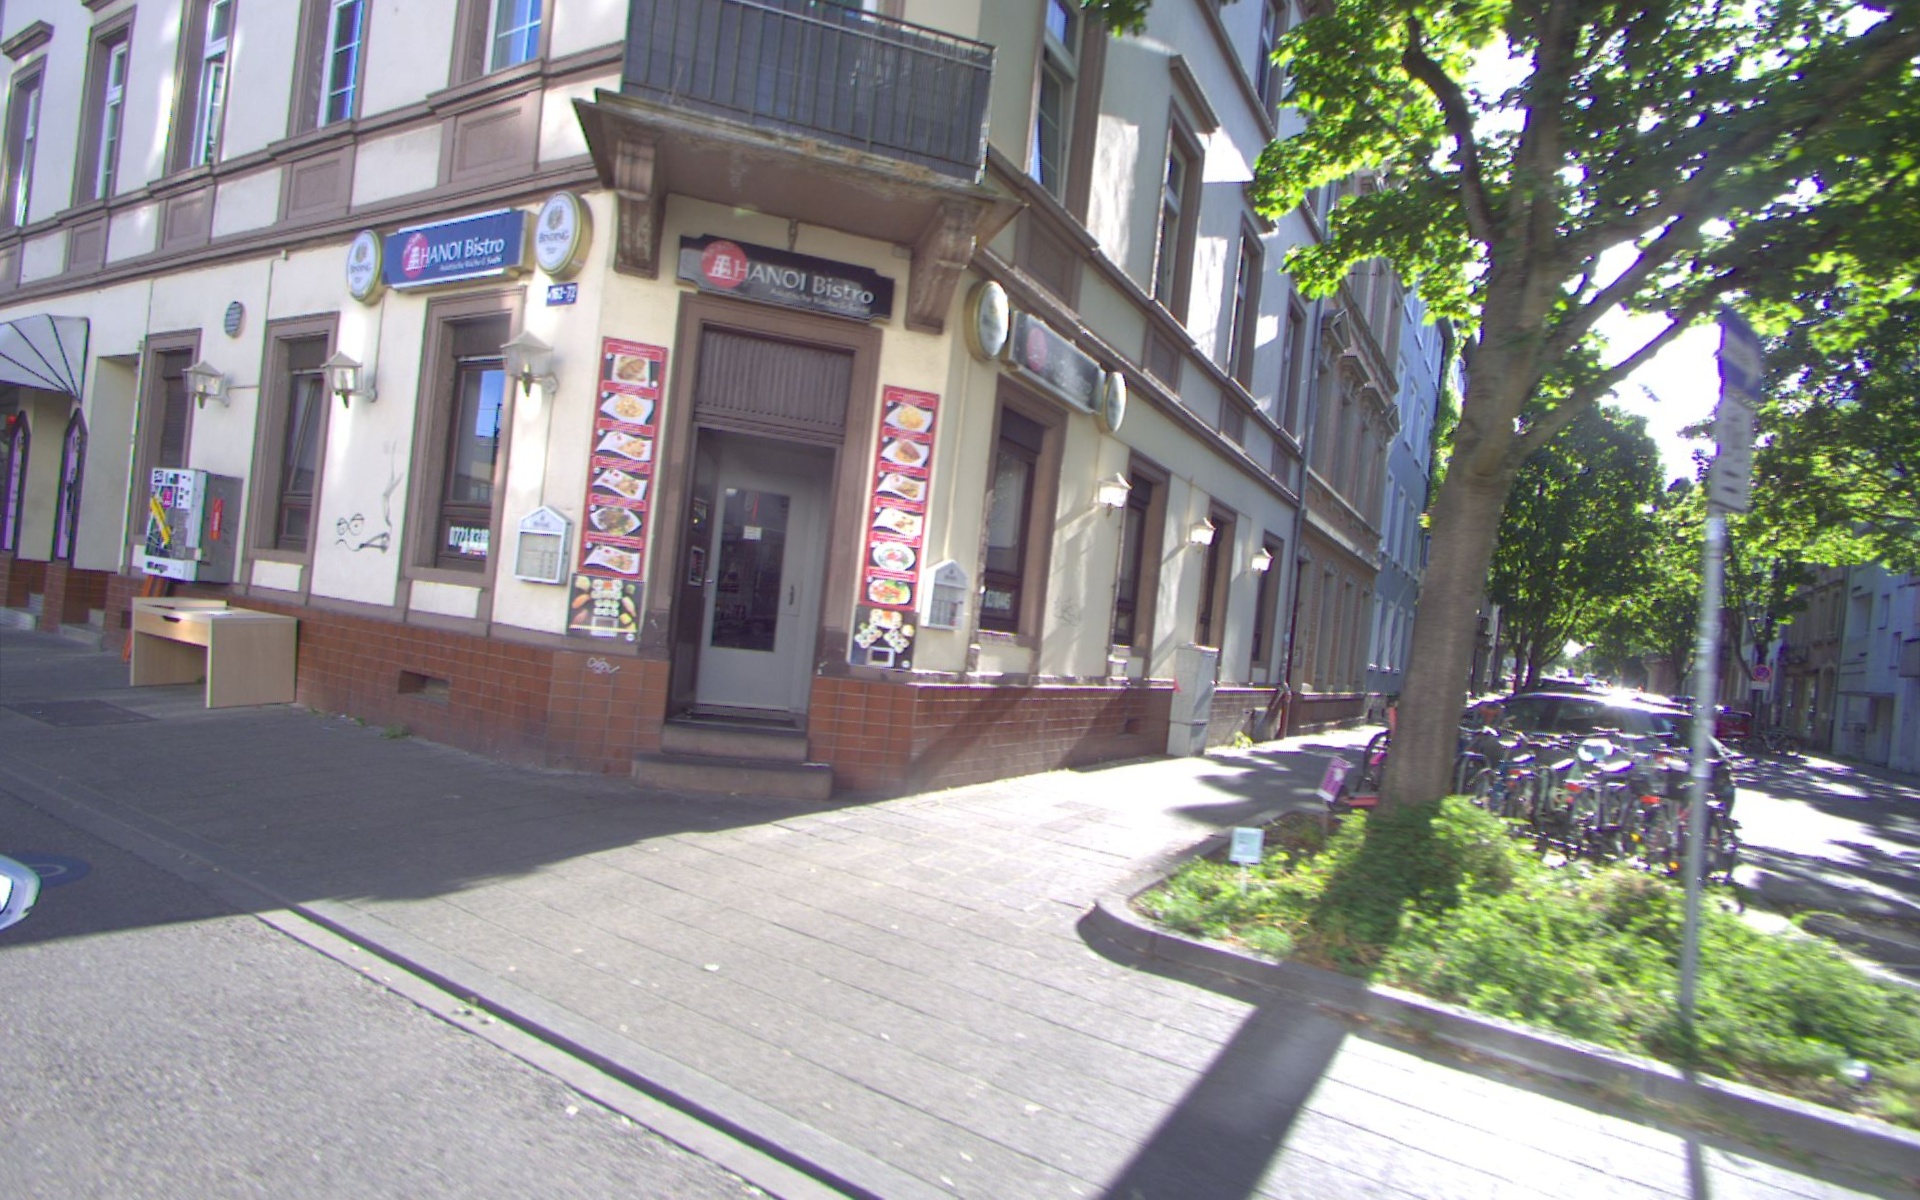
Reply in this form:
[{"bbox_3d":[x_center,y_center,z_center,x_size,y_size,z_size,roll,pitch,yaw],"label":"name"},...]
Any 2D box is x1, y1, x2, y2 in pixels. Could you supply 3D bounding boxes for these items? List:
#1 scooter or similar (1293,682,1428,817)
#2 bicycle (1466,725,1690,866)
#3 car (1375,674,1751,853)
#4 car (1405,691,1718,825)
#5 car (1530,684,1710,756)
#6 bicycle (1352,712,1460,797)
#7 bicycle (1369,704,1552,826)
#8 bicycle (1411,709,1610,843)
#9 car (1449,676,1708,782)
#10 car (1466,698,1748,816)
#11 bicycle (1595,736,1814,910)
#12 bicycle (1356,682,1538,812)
[{"bbox_3d":[3.897,1.460,9.777,1.196,1.197,0.422,6,-1,-25],"label":"scooter or similar"},{"bbox_3d":[5.365,1.699,8.716,1.880,1.057,0.535,6,0,-20],"label":"bicycle"},{"bbox_3d":[7.377,1.926,12.643,1.629,1.549,3.628,6,-1,-32],"label":"car"},{"bbox_3d":[8.889,2.284,15.139,1.629,1.378,3.628,6,-1,-32],"label":"car"},{"bbox_3d":[21.644,3.913,33.201,1.630,1.692,4.597,7,-1,-32],"label":"car"},{"bbox_3d":[5.640,1.934,12.831,0.527,0.810,1.757,5,-1,0],"label":"bicycle"},{"bbox_3d":[4.860,1.609,9.740,1.883,1.057,0.439,6,0,-25],"label":"bicycle"},{"bbox_3d":[5.107,1.636,9.304,1.883,1.094,0.534,6,-1,-25],"label":"bicycle"},{"bbox_3d":[13.630,2.805,22.497,1.629,1.692,4.597,6,-1,-32],"label":"car"},{"bbox_3d":[10.929,2.615,17.226,1.630,1.377,3.628,7,-2,-32],"label":"car"},{"bbox_3d":[5.814,1.720,7.824,1.885,1.162,0.534,7,-1,-28],"label":"bicycle"},{"bbox_3d":[5.430,1.643,11.190,2.033,1.281,0.577,6,0,-25],"label":"bicycle"}]
